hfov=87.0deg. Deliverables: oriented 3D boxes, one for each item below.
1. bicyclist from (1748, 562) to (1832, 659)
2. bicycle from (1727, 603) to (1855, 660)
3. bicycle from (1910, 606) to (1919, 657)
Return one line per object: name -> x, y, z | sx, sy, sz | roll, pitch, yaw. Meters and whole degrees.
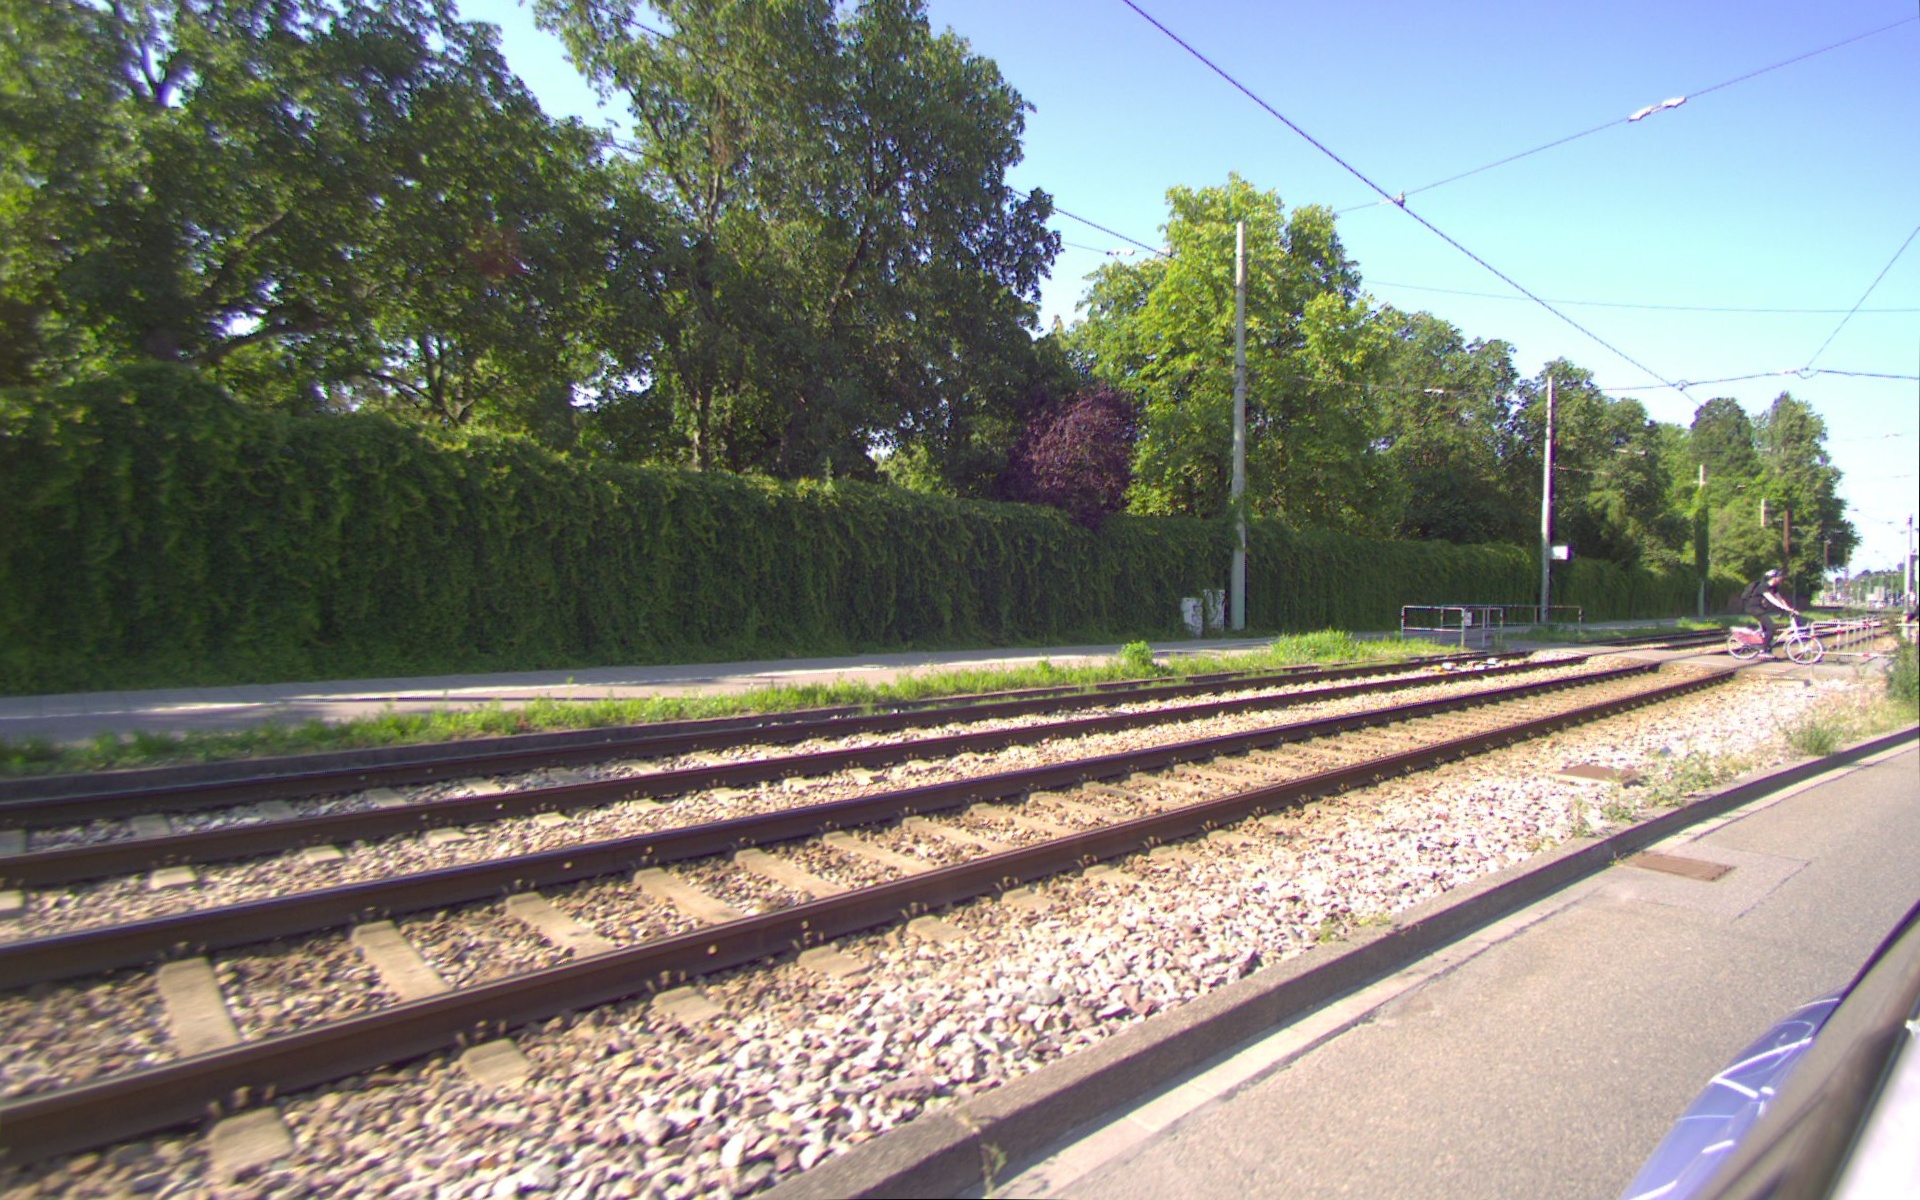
bicyclist -> 17.890, 0.211, 21.823 | 0.927, 2.018, 1.039 | 1, 1, -19
bicycle -> 17.880, 0.648, 21.838 | 0.927, 1.129, 1.931 | 1, 1, -19
bicycle -> 23.024, 0.752, 23.563 | 1.897, 1.168, 0.647 | 0, 3, -27
